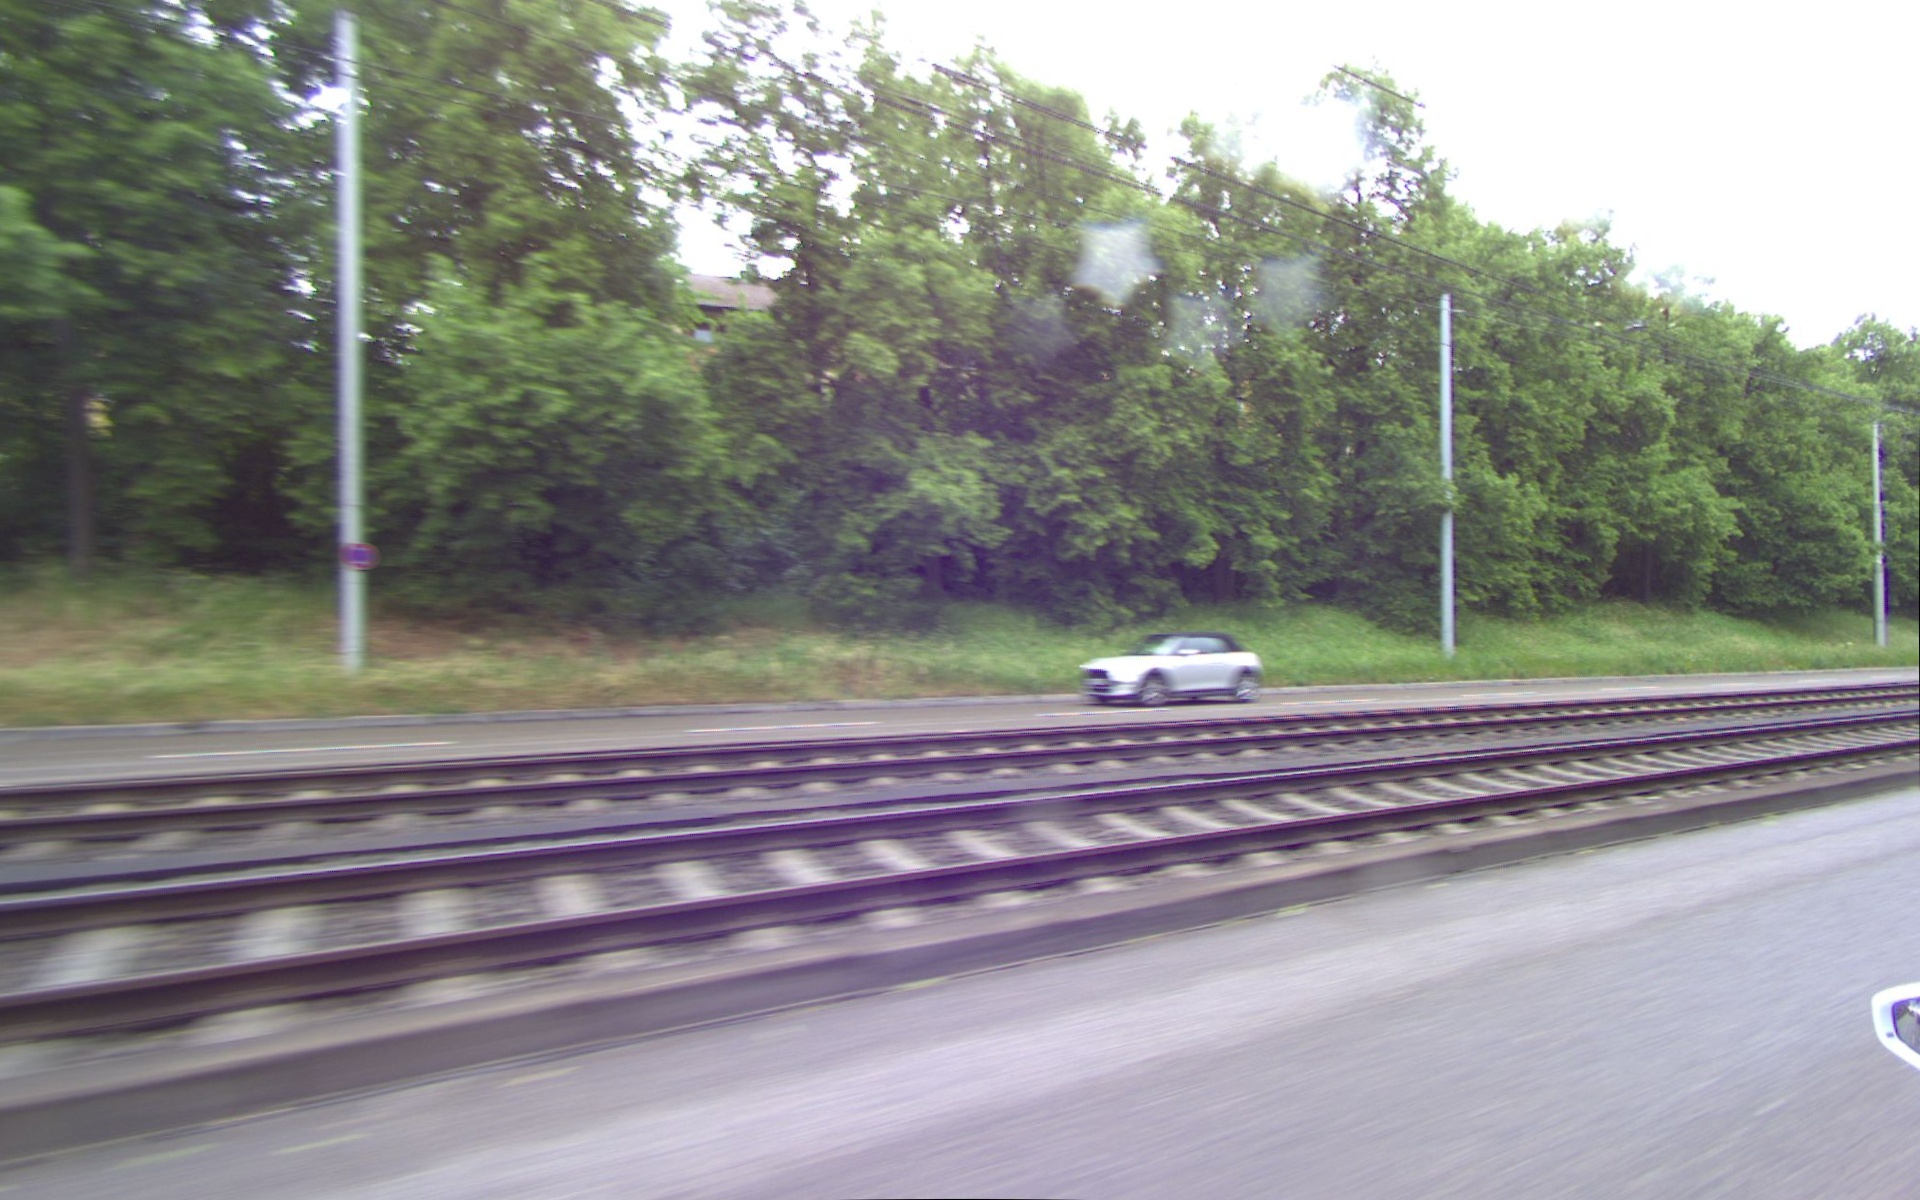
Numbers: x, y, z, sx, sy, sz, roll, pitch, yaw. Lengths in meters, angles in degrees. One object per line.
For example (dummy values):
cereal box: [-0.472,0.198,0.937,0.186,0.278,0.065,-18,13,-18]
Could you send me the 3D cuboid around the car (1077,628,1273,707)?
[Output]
car: [4.351,1.321,20.176,3.863,1.454,1.469,1,-3,-30]
